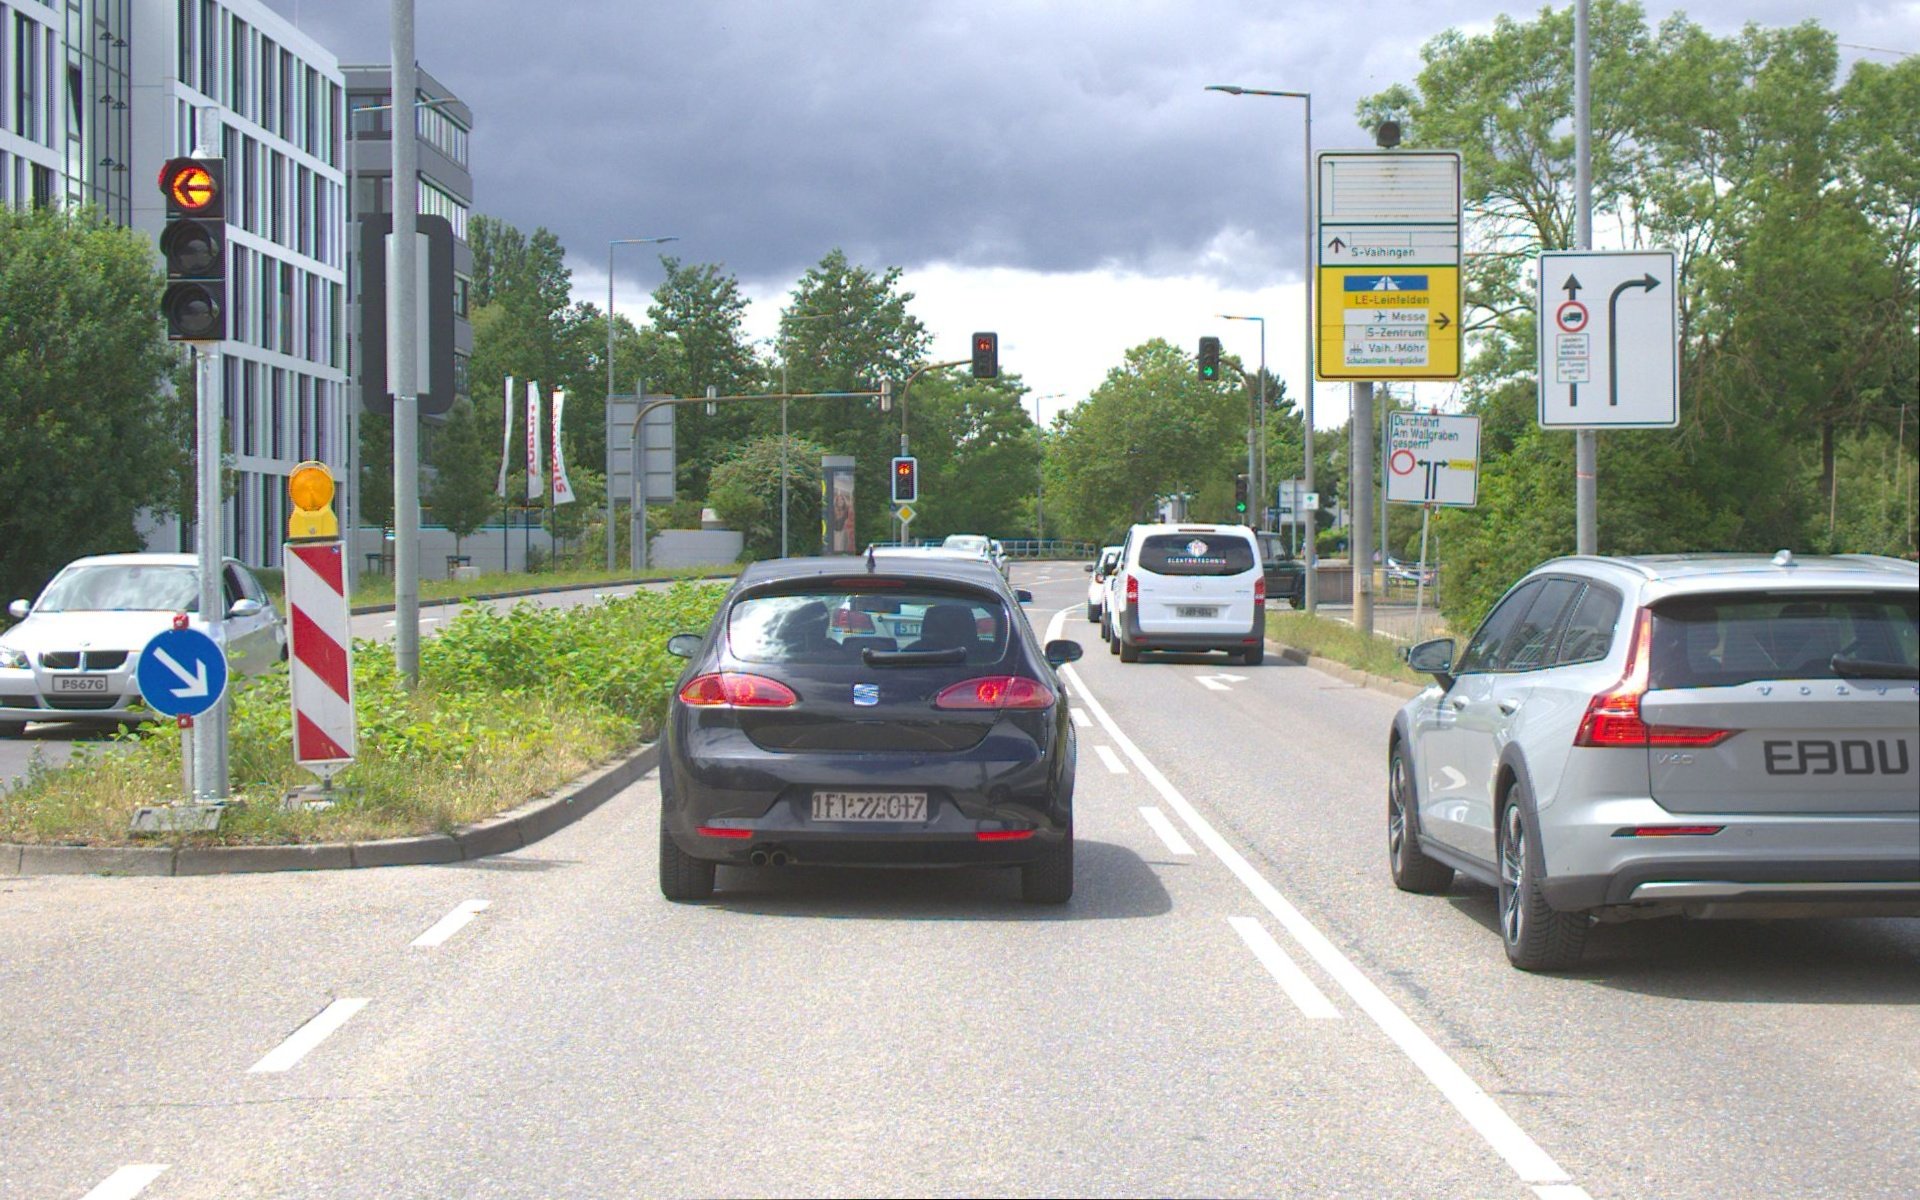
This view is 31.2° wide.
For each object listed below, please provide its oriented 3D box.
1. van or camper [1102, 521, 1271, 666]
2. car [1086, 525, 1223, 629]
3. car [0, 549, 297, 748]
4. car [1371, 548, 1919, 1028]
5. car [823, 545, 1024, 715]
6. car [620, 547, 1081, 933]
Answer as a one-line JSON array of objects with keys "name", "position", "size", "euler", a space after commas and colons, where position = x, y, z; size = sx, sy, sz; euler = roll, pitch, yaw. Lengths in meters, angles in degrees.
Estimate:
[{"name": "van or camper", "position": [3.019, -0.130, 46.735], "size": [1.993, 1.853, 4.944], "euler": [0, 1, 1]}, {"name": "car", "position": [3.146, -0.398, 56.379], "size": [1.993, 1.626, 4.000], "euler": [0, 1, 0]}, {"name": "car", "position": [-6.607, 0.328, 27.509], "size": [1.792, 1.442, 4.422], "euler": [0, 1, -1]}, {"name": "car", "position": [2.821, 0.572, 13.270], "size": [1.863, 1.513, 4.447], "euler": [0, 1, -1]}, {"name": "car", "position": [-0.325, 0.234, 32.118], "size": [1.773, 1.486, 3.582], "euler": [0, 1, 0]}, {"name": "car", "position": [-0.371, 0.520, 15.280], "size": [1.773, 1.447, 3.582], "euler": [2, 1, 2]}]
